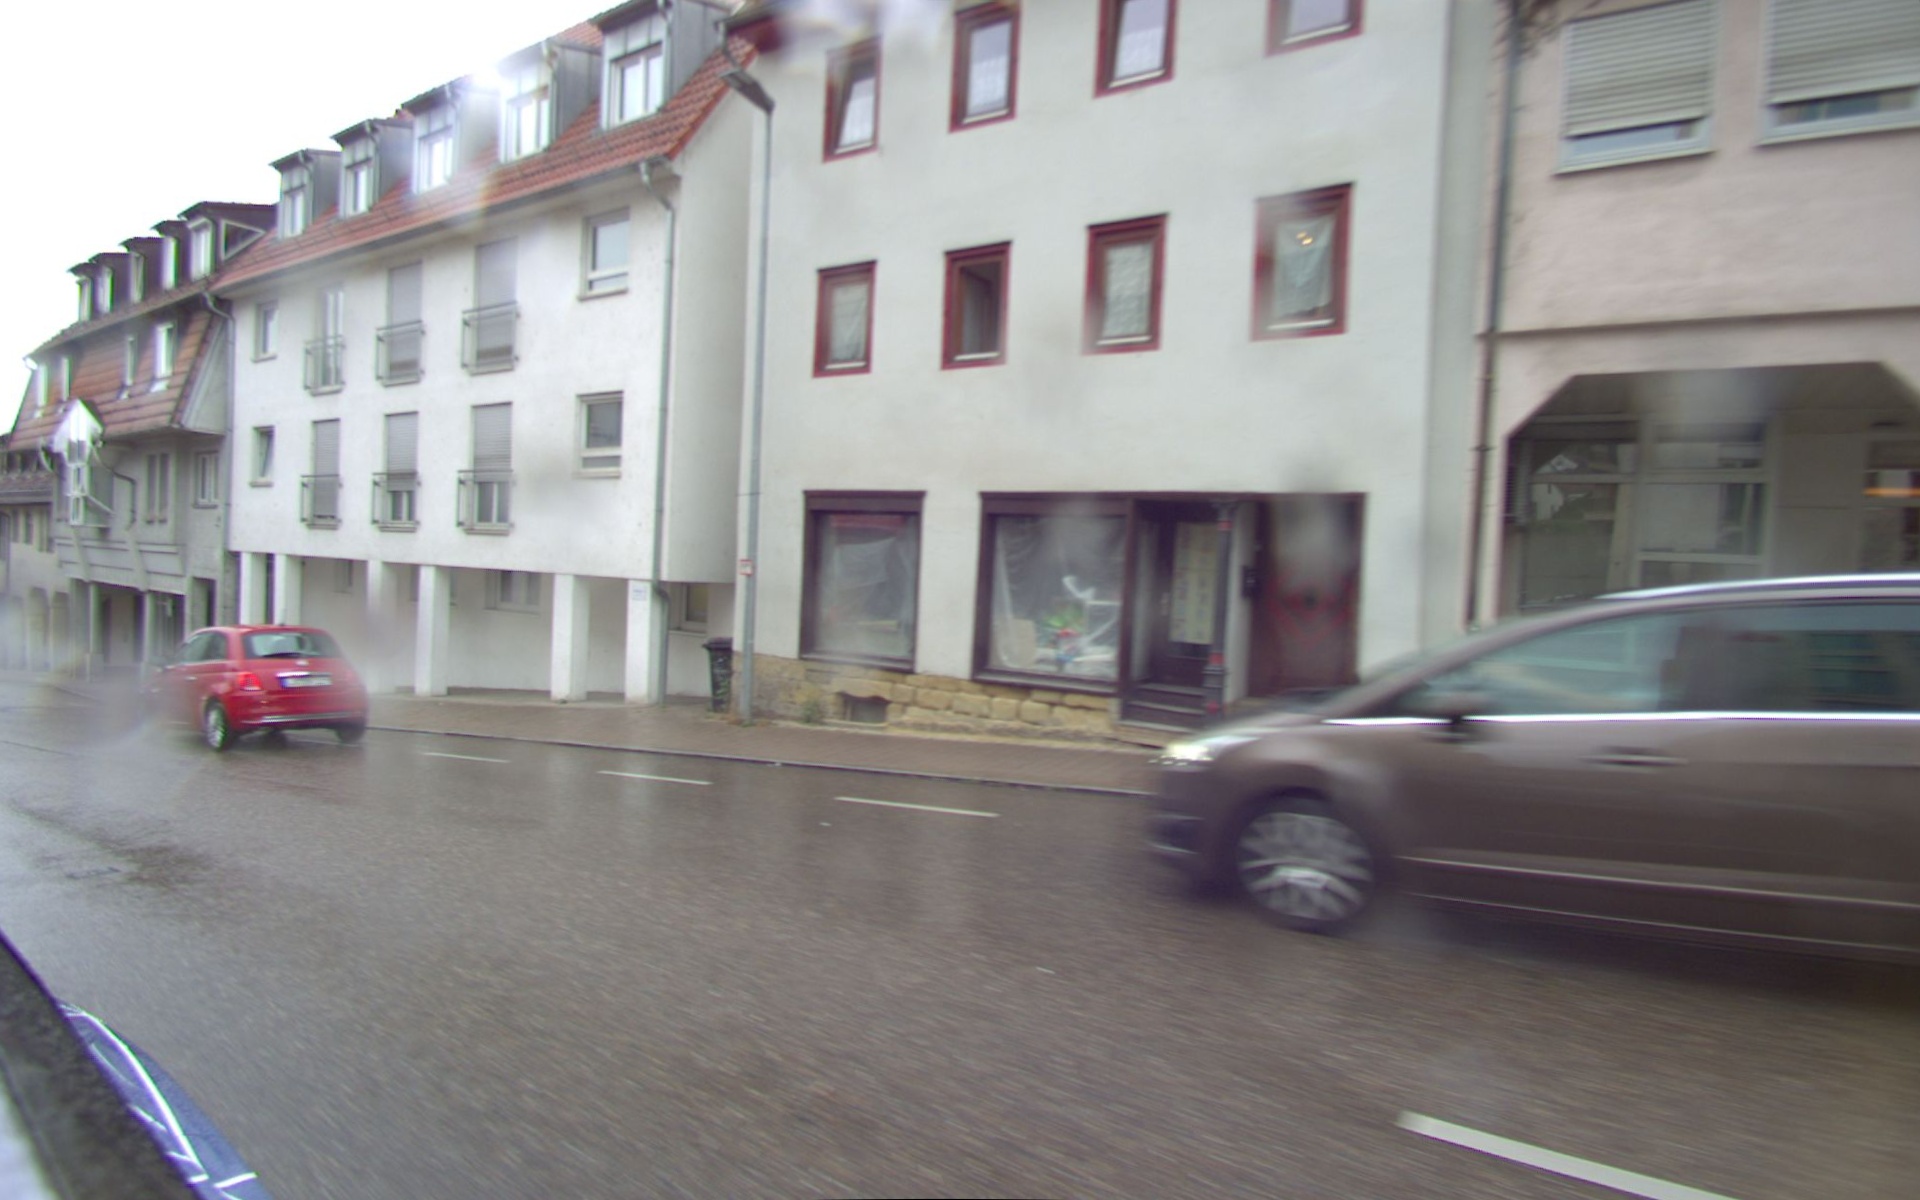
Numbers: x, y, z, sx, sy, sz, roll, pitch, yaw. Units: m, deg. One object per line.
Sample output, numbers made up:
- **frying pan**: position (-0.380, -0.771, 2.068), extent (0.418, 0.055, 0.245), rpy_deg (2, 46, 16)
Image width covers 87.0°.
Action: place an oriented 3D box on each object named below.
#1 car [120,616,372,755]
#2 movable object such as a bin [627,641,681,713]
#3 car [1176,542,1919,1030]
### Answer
- **car**: position (-9.169, 1.017, 12.934), extent (3.441, 1.547, 1.545), rpy_deg (-2, -3, 35)
- **movable object such as a bin**: position (-4.554, 1.133, 15.052), extent (0.583, 1.014, 0.504), rpy_deg (-2, -1, 34)
- **car**: position (3.268, 0.642, 4.433), extent (4.201, 1.642, 1.769), rpy_deg (-1, -1, 32)
